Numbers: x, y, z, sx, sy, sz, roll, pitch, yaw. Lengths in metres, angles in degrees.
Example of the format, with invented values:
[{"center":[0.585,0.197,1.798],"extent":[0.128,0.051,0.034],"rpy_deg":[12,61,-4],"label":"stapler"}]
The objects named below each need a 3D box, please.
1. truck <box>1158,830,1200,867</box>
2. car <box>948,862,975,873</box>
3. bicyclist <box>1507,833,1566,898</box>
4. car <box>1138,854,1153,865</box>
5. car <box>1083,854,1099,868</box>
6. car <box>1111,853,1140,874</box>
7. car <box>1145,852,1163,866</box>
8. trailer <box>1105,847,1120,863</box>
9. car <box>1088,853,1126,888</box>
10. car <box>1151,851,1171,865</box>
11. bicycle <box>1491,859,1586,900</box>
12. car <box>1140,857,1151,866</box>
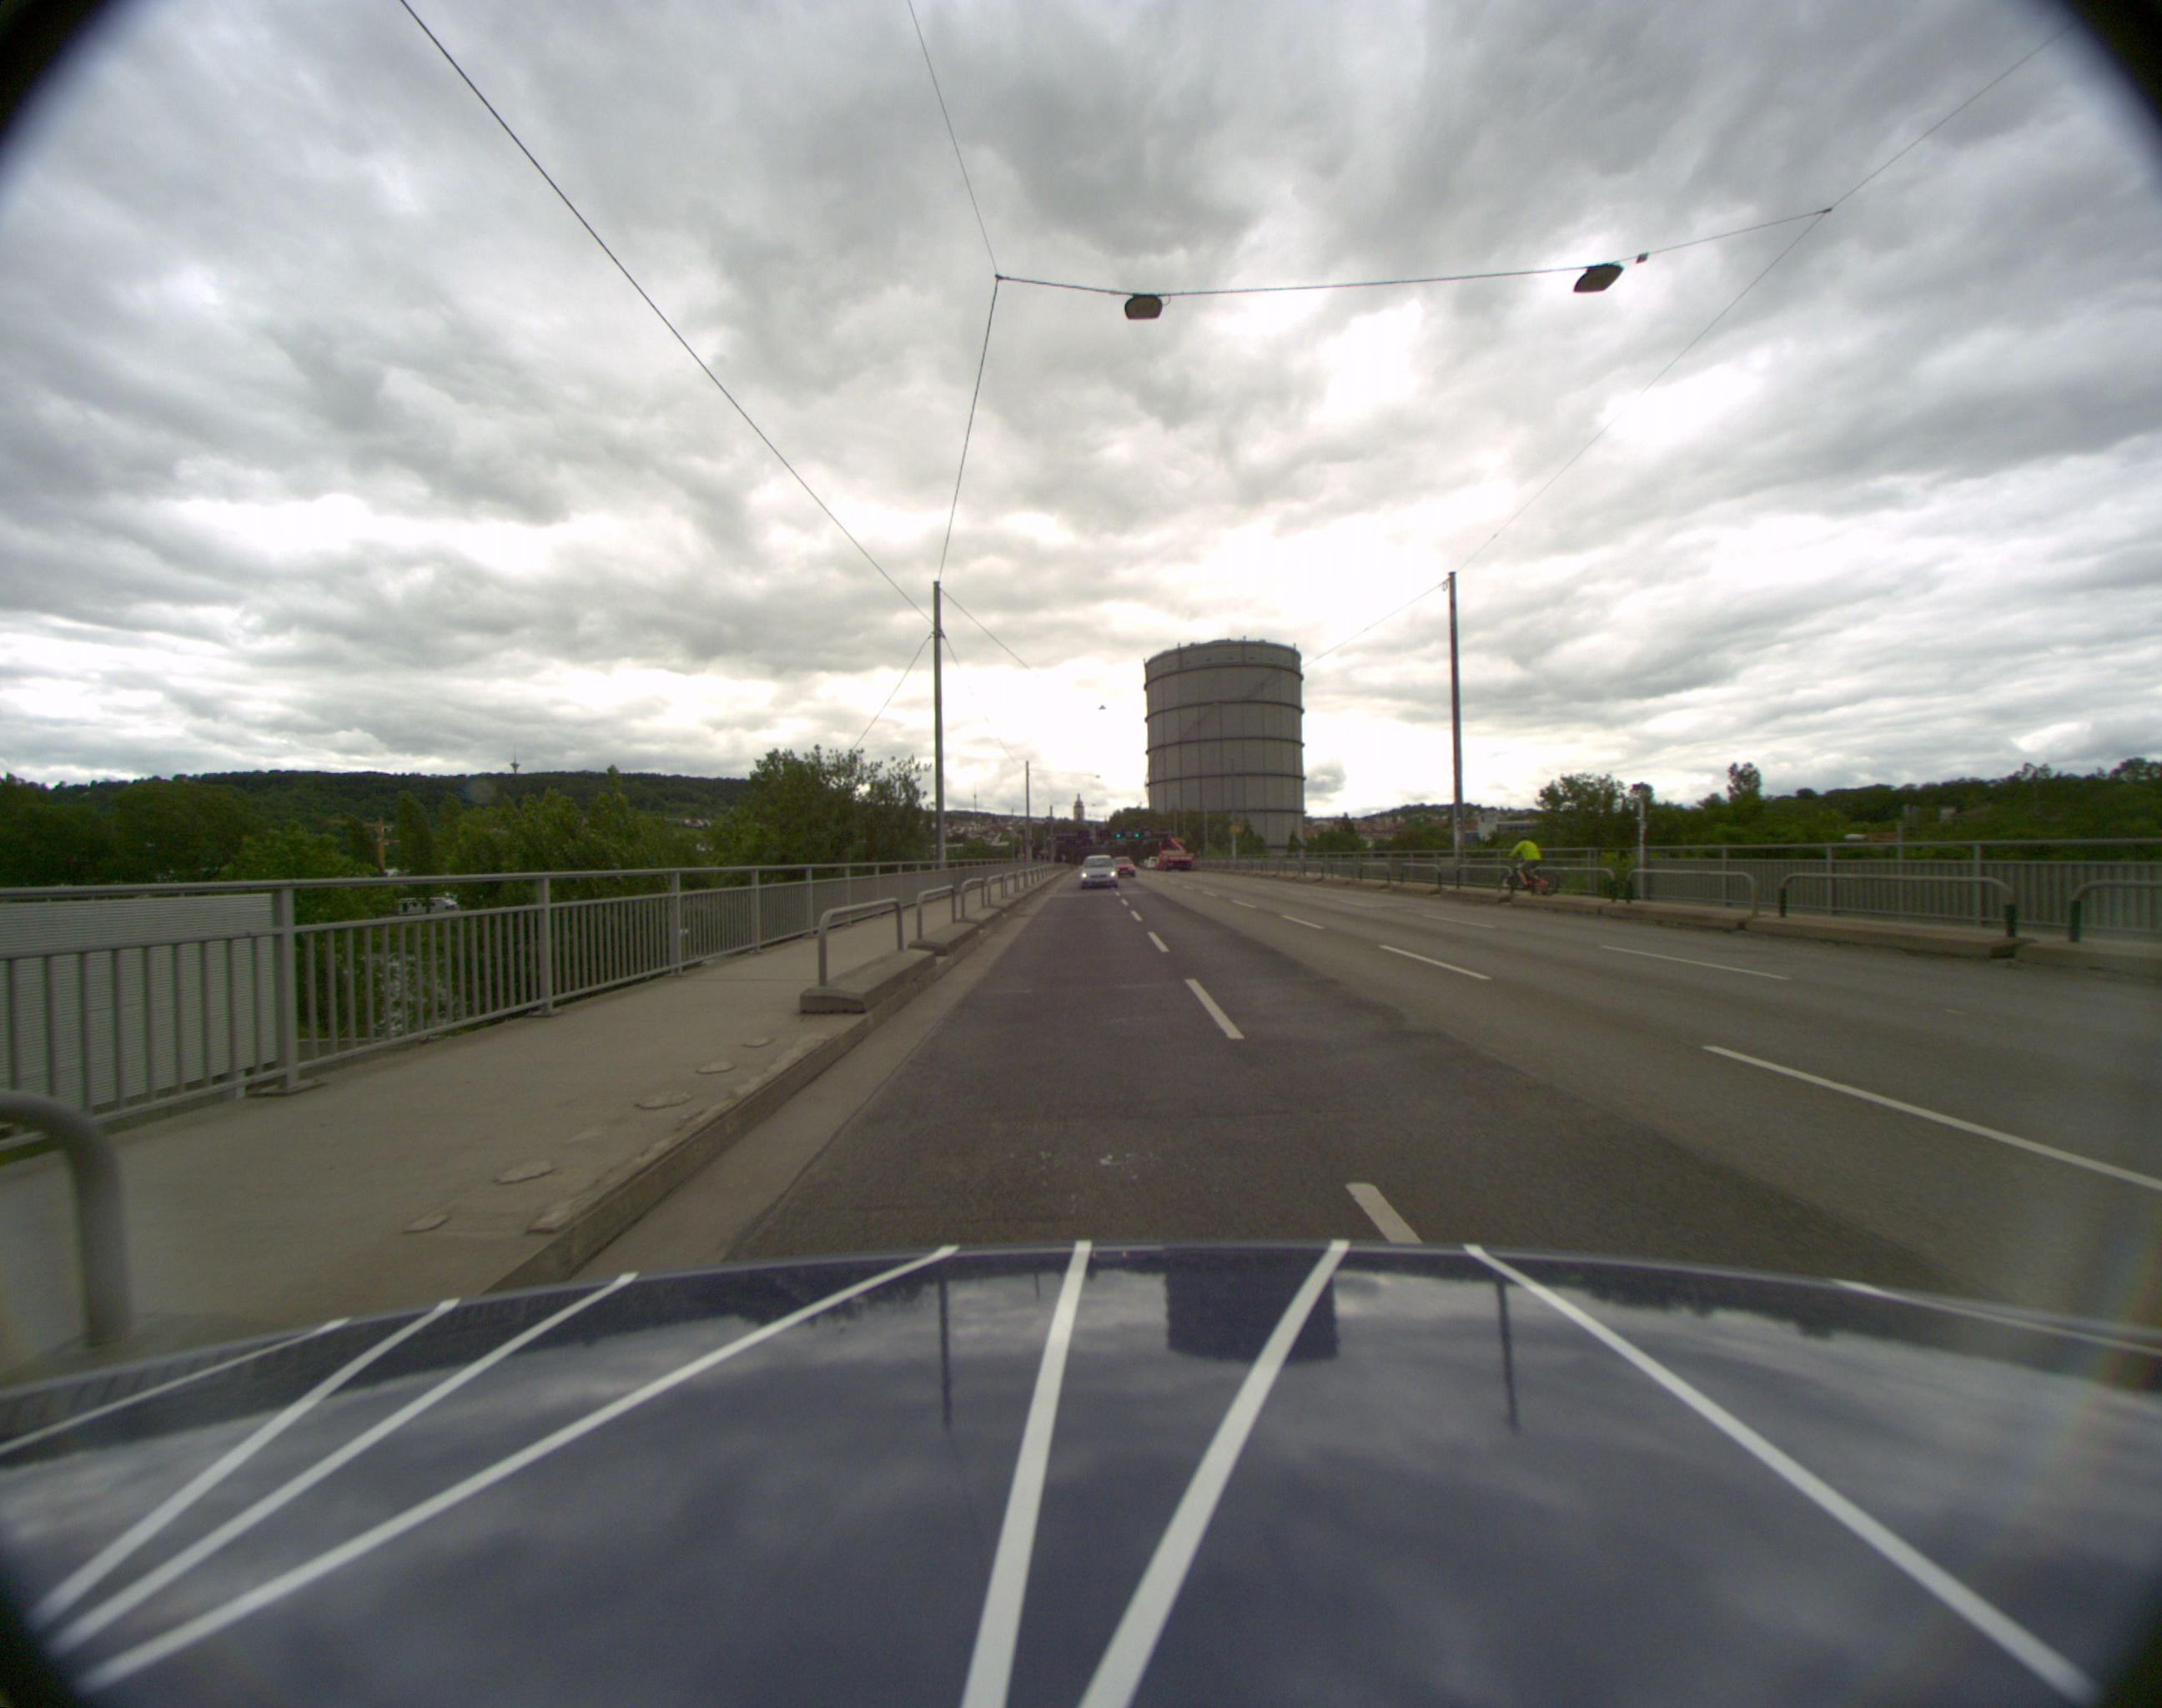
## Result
[{"center":[9.915,-0.470,77.961],"extent":[3.013,3.544,9.983],"rpy_deg":[0,-1,0],"label":"truck"},{"center":[-21.168,2.332,134.342],"extent":[4.339,1.610,2.000],"rpy_deg":[-3,1,0],"label":"car"},{"center":[12.764,0.309,21.326],"extent":[0.905,1.754,1.136],"rpy_deg":[-2,0,-1],"label":"bicyclist"},{"center":[9.175,0.849,108.763],"extent":[1.840,1.495,4.517],"rpy_deg":[0,-1,0],"label":"car"},{"center":[1.112,0.819,82.718],"extent":[1.696,1.411,4.469],"rpy_deg":[-2,-1,1],"label":"car"},{"center":[3.144,0.690,54.589],"extent":[1.747,1.454,3.955],"rpy_deg":[0,-1,-2],"label":"car"},{"center":[9.647,0.712,100.974],"extent":[1.884,1.750,4.803],"rpy_deg":[0,-1,0],"label":"car"},{"center":[8.921,0.366,216.037],"extent":[3.669,4.295,13.784],"rpy_deg":[1,-1,0],"label":"trailer"},{"center":[1.283,0.805,37.758],"extent":[1.747,1.594,3.683],"rpy_deg":[-2,-1,1],"label":"car"},{"center":[9.502,0.527,90.358],"extent":[1.884,1.593,4.016],"rpy_deg":[0,-1,0],"label":"car"},{"center":[12.775,0.683,21.355],"extent":[0.920,1.044,2.799],"rpy_deg":[-2,0,-1],"label":"bicycle"},{"center":[10.491,1.206,123.860],"extent":[1.839,1.495,3.873],"rpy_deg":[0,-1,5],"label":"car"}]
